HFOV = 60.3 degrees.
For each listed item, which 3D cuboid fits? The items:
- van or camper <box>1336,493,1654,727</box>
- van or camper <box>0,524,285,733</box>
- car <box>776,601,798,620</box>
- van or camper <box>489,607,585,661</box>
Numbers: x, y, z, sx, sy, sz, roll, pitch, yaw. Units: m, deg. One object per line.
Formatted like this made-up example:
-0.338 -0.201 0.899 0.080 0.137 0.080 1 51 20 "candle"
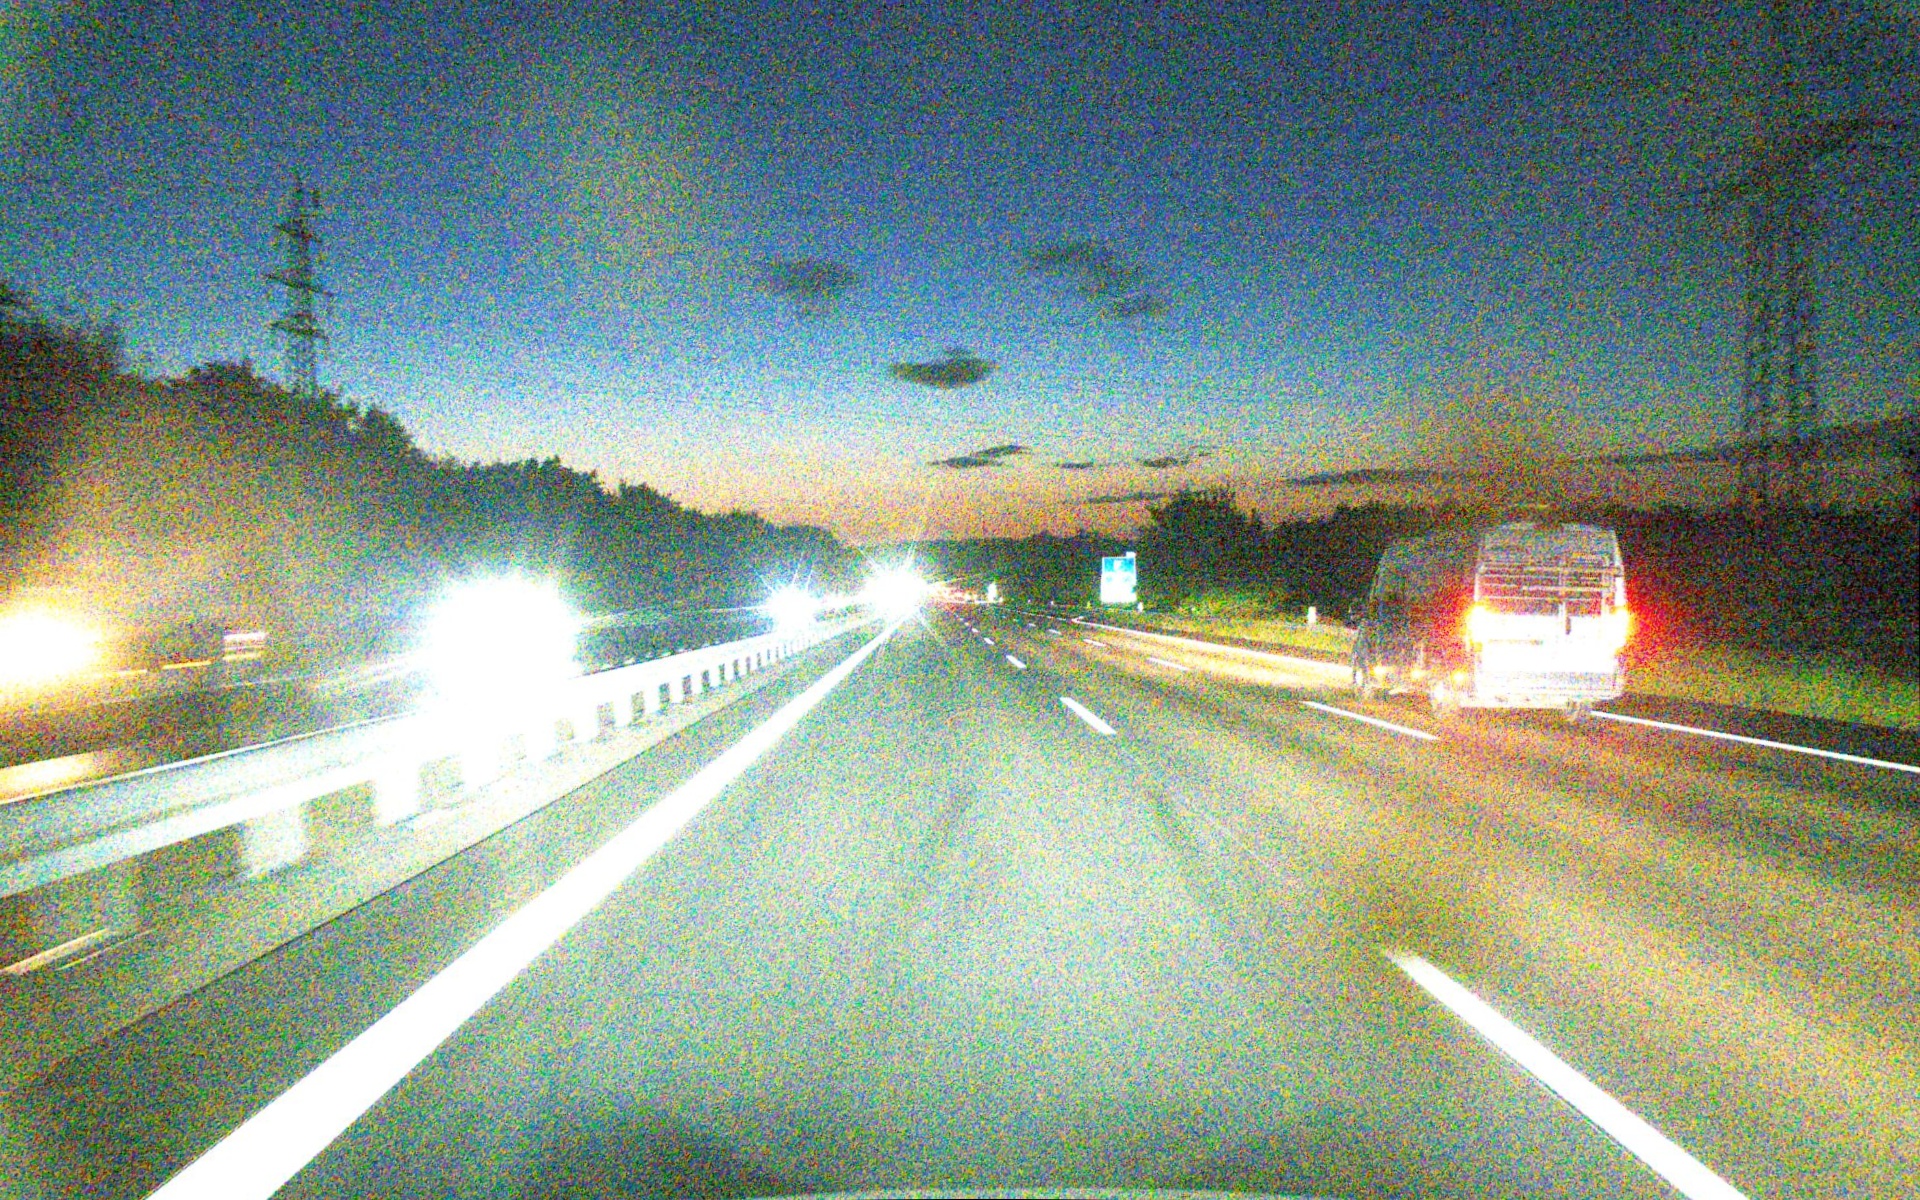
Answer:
7.270 0.104 23.474 2.162 2.820 6.802 1 0 -1 "van or camper"
-13.072 0.366 25.330 2.282 2.677 7.776 -3 1 -1 "van or camper"
-16.072 0.932 153.456 1.955 1.667 5.069 0 0 -5 "car"
-13.199 1.022 51.943 1.744 1.466 5.101 -3 1 -1 "van or camper"
